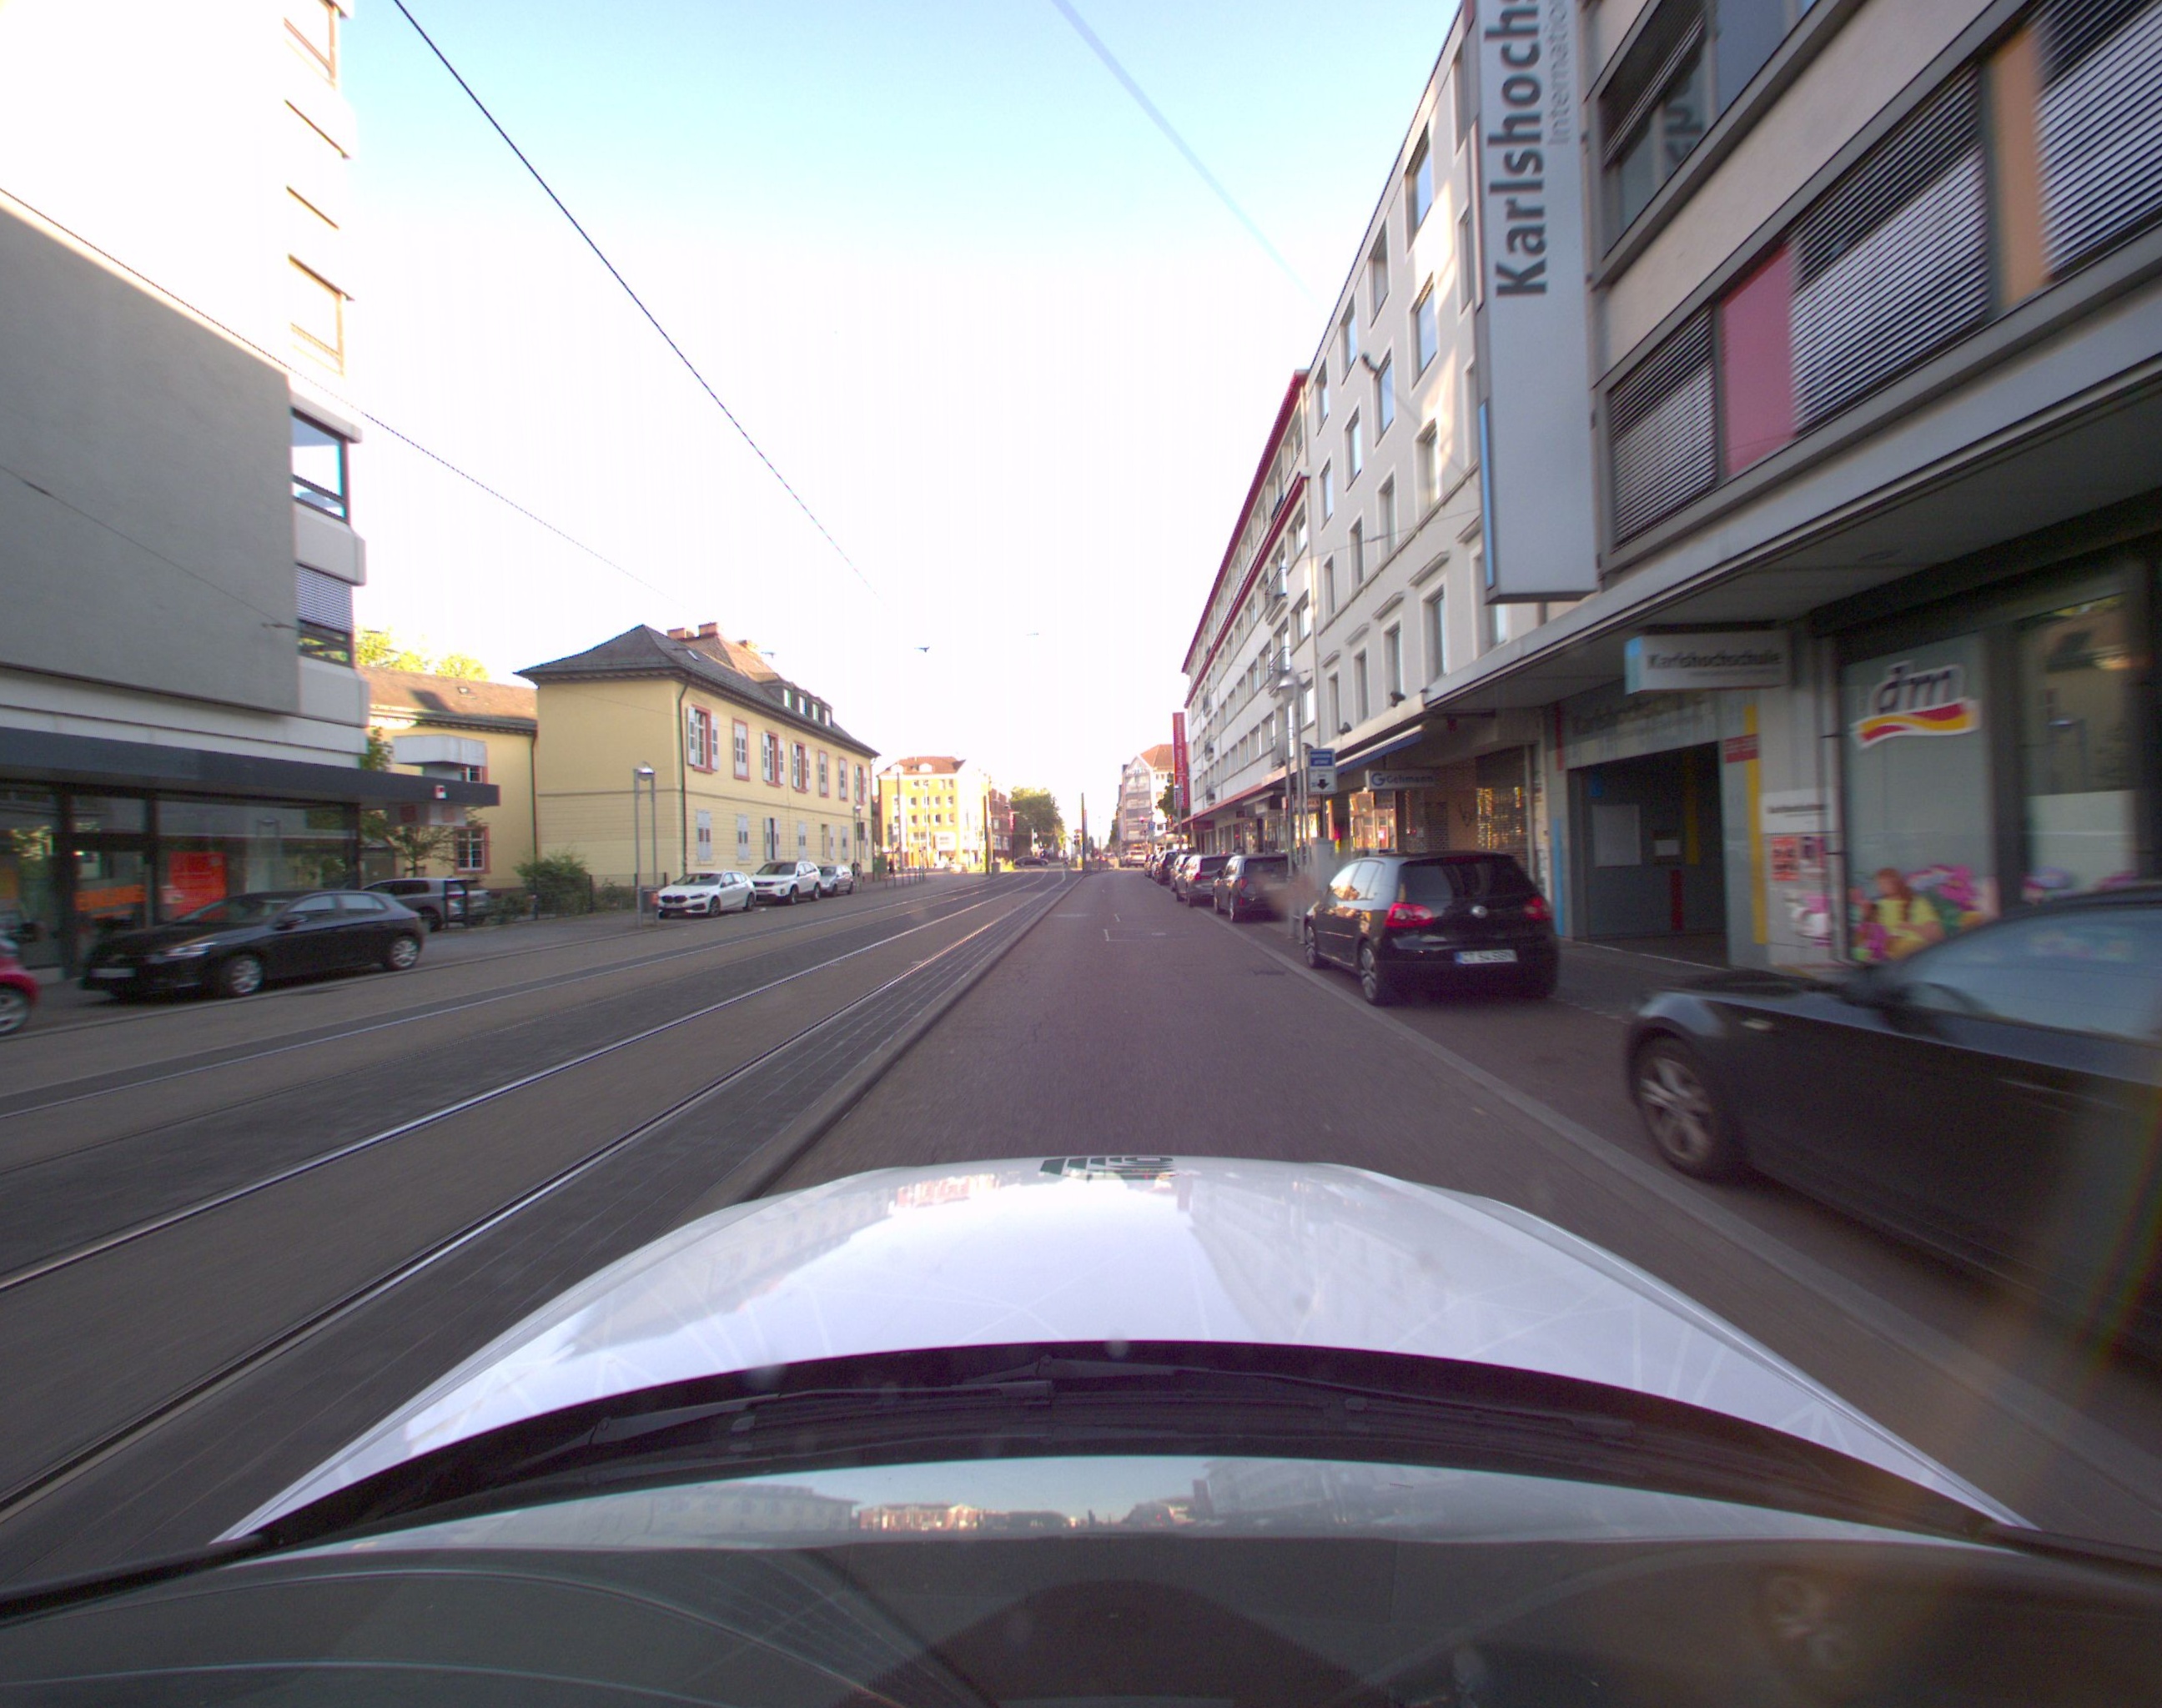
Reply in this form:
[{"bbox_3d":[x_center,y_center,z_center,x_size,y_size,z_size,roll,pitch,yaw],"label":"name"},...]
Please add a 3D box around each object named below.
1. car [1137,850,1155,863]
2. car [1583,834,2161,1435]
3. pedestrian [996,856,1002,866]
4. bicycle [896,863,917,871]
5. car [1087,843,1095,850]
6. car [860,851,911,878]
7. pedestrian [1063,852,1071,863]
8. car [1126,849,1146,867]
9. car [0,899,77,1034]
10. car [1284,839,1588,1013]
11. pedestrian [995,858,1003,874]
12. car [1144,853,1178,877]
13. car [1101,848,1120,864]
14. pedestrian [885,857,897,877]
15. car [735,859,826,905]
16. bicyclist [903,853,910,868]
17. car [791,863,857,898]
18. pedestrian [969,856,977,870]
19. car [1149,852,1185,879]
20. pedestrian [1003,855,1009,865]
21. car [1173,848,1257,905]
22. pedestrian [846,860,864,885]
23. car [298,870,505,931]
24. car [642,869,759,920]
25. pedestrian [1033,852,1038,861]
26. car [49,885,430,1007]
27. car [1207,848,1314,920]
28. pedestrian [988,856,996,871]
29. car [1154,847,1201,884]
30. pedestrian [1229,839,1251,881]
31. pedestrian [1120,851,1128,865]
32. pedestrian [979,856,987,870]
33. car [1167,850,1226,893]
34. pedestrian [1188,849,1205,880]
[{"bbox_3d":[7.499,0.314,94.401,1.758,1.440,4.000,-2,0,0],"label":"car"},{"bbox_3d":[3.465,0.683,2.354,1.648,1.463,4.024,0,0,2],"label":"car"},{"bbox_3d":[-15.995,1.436,159.588,1.090,2.014,0.908,0,-1,-1],"label":"pedestrian"},{"bbox_3d":[-22.587,1.679,105.456,2.647,1.099,0.433,0,-1,-18],"label":"bicycle"},{"bbox_3d":[2.996,-2.199,241.915,1.985,1.901,4.003,0,-1,3],"label":"car"},{"bbox_3d":[-16.081,0.883,66.981,3.994,2.013,1.990,-2,0,-15],"label":"car"},{"bbox_3d":[-1.736,0.469,102.856,0.900,1.375,0.853,-2,0,-1],"label":"pedestrian"},{"bbox_3d":[5.401,0.436,79.955,1.828,1.636,4.093,-3,-2,3],"label":"car"},{"bbox_3d":[-12.672,1.272,7.756,1.685,1.434,3.593,-2,0,2],"label":"car"},{"bbox_3d":[3.609,0.644,9.158,1.758,1.513,4.073,0,0,2],"label":"car"},{"bbox_3d":[-7.322,1.075,72.612,0.662,1.375,0.651,0,-1,-1],"label":"pedestrian"},{"bbox_3d":[4.927,0.669,50.812,1.783,1.413,4.688,0,0,1],"label":"car"},{"bbox_3d":[3.406,0.278,94.231,1.986,1.596,4.001,-6,-2,2],"label":"car"},{"bbox_3d":[-14.863,1.027,63.687,0.717,1.536,0.718,-2,-1,-3],"label":"pedestrian"},{"bbox_3d":[-11.922,1.051,32.633,1.880,1.661,4.760,0,0,0],"label":"car"},{"bbox_3d":[-22.633,0.851,105.440,0.863,2.014,0.642,0,-1,-19],"label":"bicyclist"},{"bbox_3d":[-11.967,1.184,38.149,1.742,1.474,4.001,0,0,1],"label":"car"},{"bbox_3d":[-10.510,0.857,79.399,0.662,1.375,0.651,-2,0,-1],"label":"pedestrian"},{"bbox_3d":[4.746,0.630,45.380,1.645,1.421,4.193,0,0,2],"label":"car"},{"bbox_3d":[-15.171,1.147,164.155,1.090,2.014,1.163,0,-1,-1],"label":"pedestrian"},{"bbox_3d":[3.909,0.633,24.470,1.785,1.533,4.857,0,0,1],"label":"car"},{"bbox_3d":[-13.738,1.129,49.524,0.796,1.542,0.878,0,-1,4],"label":"pedestrian"},{"bbox_3d":[-18.396,1.232,22.204,3.975,1.553,1.913,0,-1,-1],"label":"car"},{"bbox_3d":[-12.222,1.254,26.513,1.714,1.453,4.284,0,0,1],"label":"car"},{"bbox_3d":[-8.512,0.478,153.665,0.801,1.664,0.704,0,-1,5],"label":"pedestrian"},{"bbox_3d":[-12.562,1.274,12.599,1.685,1.425,3.967,0,0,2],"label":"car"},{"bbox_3d":[4.011,0.639,18.790,1.719,1.481,4.002,0,0,2],"label":"car"},{"bbox_3d":[-8.710,0.921,79.789,0.662,1.375,0.651,-2,0,-1],"label":"pedestrian"},{"bbox_3d":[4.598,0.536,39.366,1.849,1.701,4.419,0,0,1],"label":"car"},{"bbox_3d":[7.226,0.276,37.022,0.772,1.880,0.934,-2,-1,0],"label":"pedestrian"},{"bbox_3d":[5.261,0.477,99.851,0.870,1.705,0.701,0,-1,4],"label":"pedestrian"},{"bbox_3d":[-9.578,0.863,79.633,0.662,1.375,0.651,-1,0,-1],"label":"pedestrian"},{"bbox_3d":[4.305,0.606,30.895,1.774,1.522,4.359,0,0,2],"label":"car"},{"bbox_3d":[5.983,0.542,42.346,0.730,1.574,0.967,-2,0,1],"label":"pedestrian"}]
